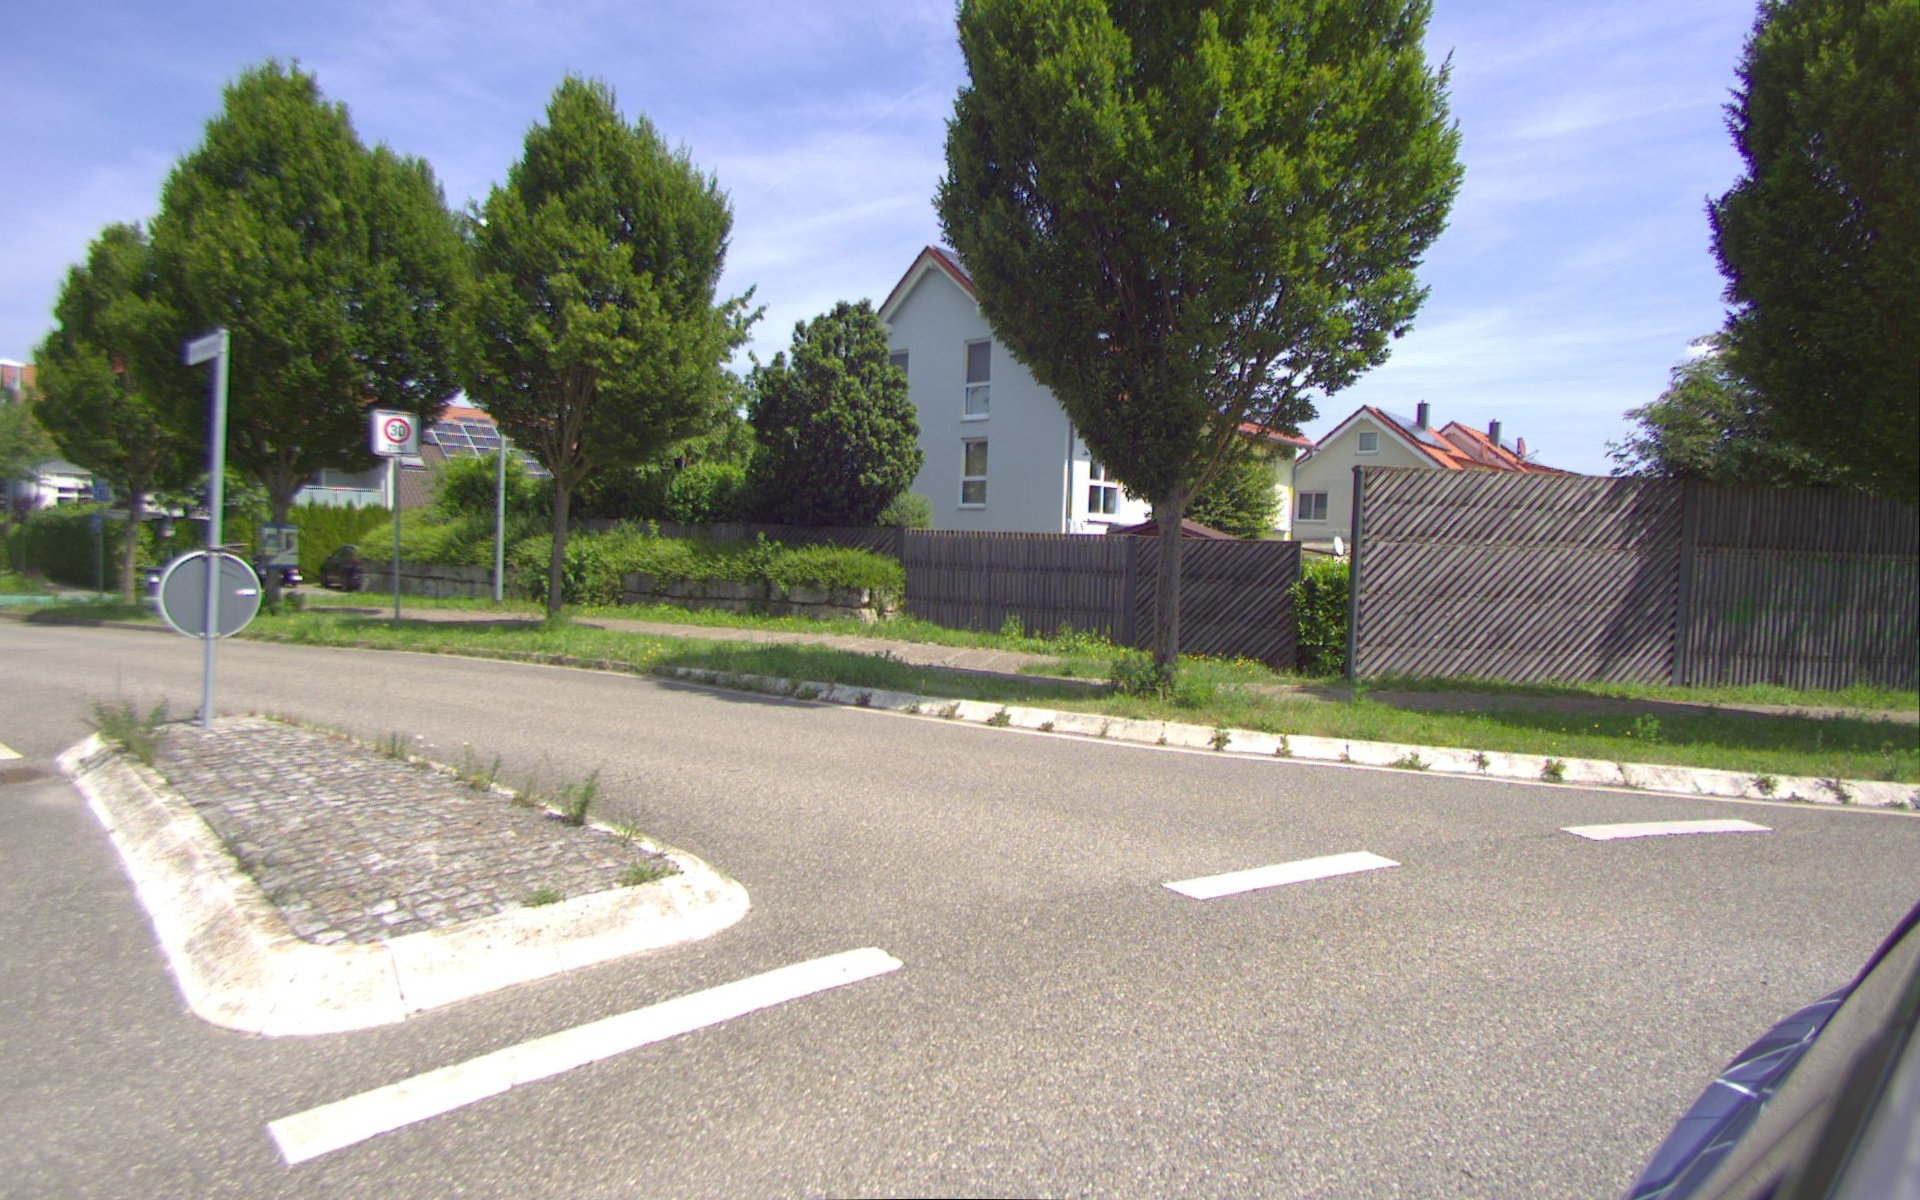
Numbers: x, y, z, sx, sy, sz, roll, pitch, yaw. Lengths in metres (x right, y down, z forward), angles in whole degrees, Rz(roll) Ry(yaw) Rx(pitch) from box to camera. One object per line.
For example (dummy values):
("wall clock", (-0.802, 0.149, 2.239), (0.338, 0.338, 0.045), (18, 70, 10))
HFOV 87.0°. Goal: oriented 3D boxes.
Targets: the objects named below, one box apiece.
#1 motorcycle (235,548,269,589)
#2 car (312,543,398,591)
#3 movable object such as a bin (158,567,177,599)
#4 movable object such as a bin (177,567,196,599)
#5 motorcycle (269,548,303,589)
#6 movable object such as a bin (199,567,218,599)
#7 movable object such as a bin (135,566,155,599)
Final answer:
("motorcycle", (-24.819, -1.127, 35.457), (0.836, 1.364, 1.660), (-1, 4, -40))
("car", (-22.052, -1.220, 36.859), (3.988, 1.570, 1.685), (5, 4, 43))
("movable object such as a bin", (-24.688, -0.540, 31.529), (0.433, 0.978, 0.499), (1, 2, -34))
("movable object such as a bin", (-24.291, -0.542, 31.799), (0.433, 0.978, 0.499), (1, 2, -34))
("motorcycle", (-24.054, -1.138, 36.098), (0.836, 1.364, 1.660), (-1, 4, -40))
("movable object such as a bin", (-23.843, -0.544, 32.106), (0.433, 0.978, 0.499), (1, 2, -34))
("movable object such as a bin", (-25.138, -0.538, 31.213), (0.433, 0.978, 0.499), (1, 2, -34))
